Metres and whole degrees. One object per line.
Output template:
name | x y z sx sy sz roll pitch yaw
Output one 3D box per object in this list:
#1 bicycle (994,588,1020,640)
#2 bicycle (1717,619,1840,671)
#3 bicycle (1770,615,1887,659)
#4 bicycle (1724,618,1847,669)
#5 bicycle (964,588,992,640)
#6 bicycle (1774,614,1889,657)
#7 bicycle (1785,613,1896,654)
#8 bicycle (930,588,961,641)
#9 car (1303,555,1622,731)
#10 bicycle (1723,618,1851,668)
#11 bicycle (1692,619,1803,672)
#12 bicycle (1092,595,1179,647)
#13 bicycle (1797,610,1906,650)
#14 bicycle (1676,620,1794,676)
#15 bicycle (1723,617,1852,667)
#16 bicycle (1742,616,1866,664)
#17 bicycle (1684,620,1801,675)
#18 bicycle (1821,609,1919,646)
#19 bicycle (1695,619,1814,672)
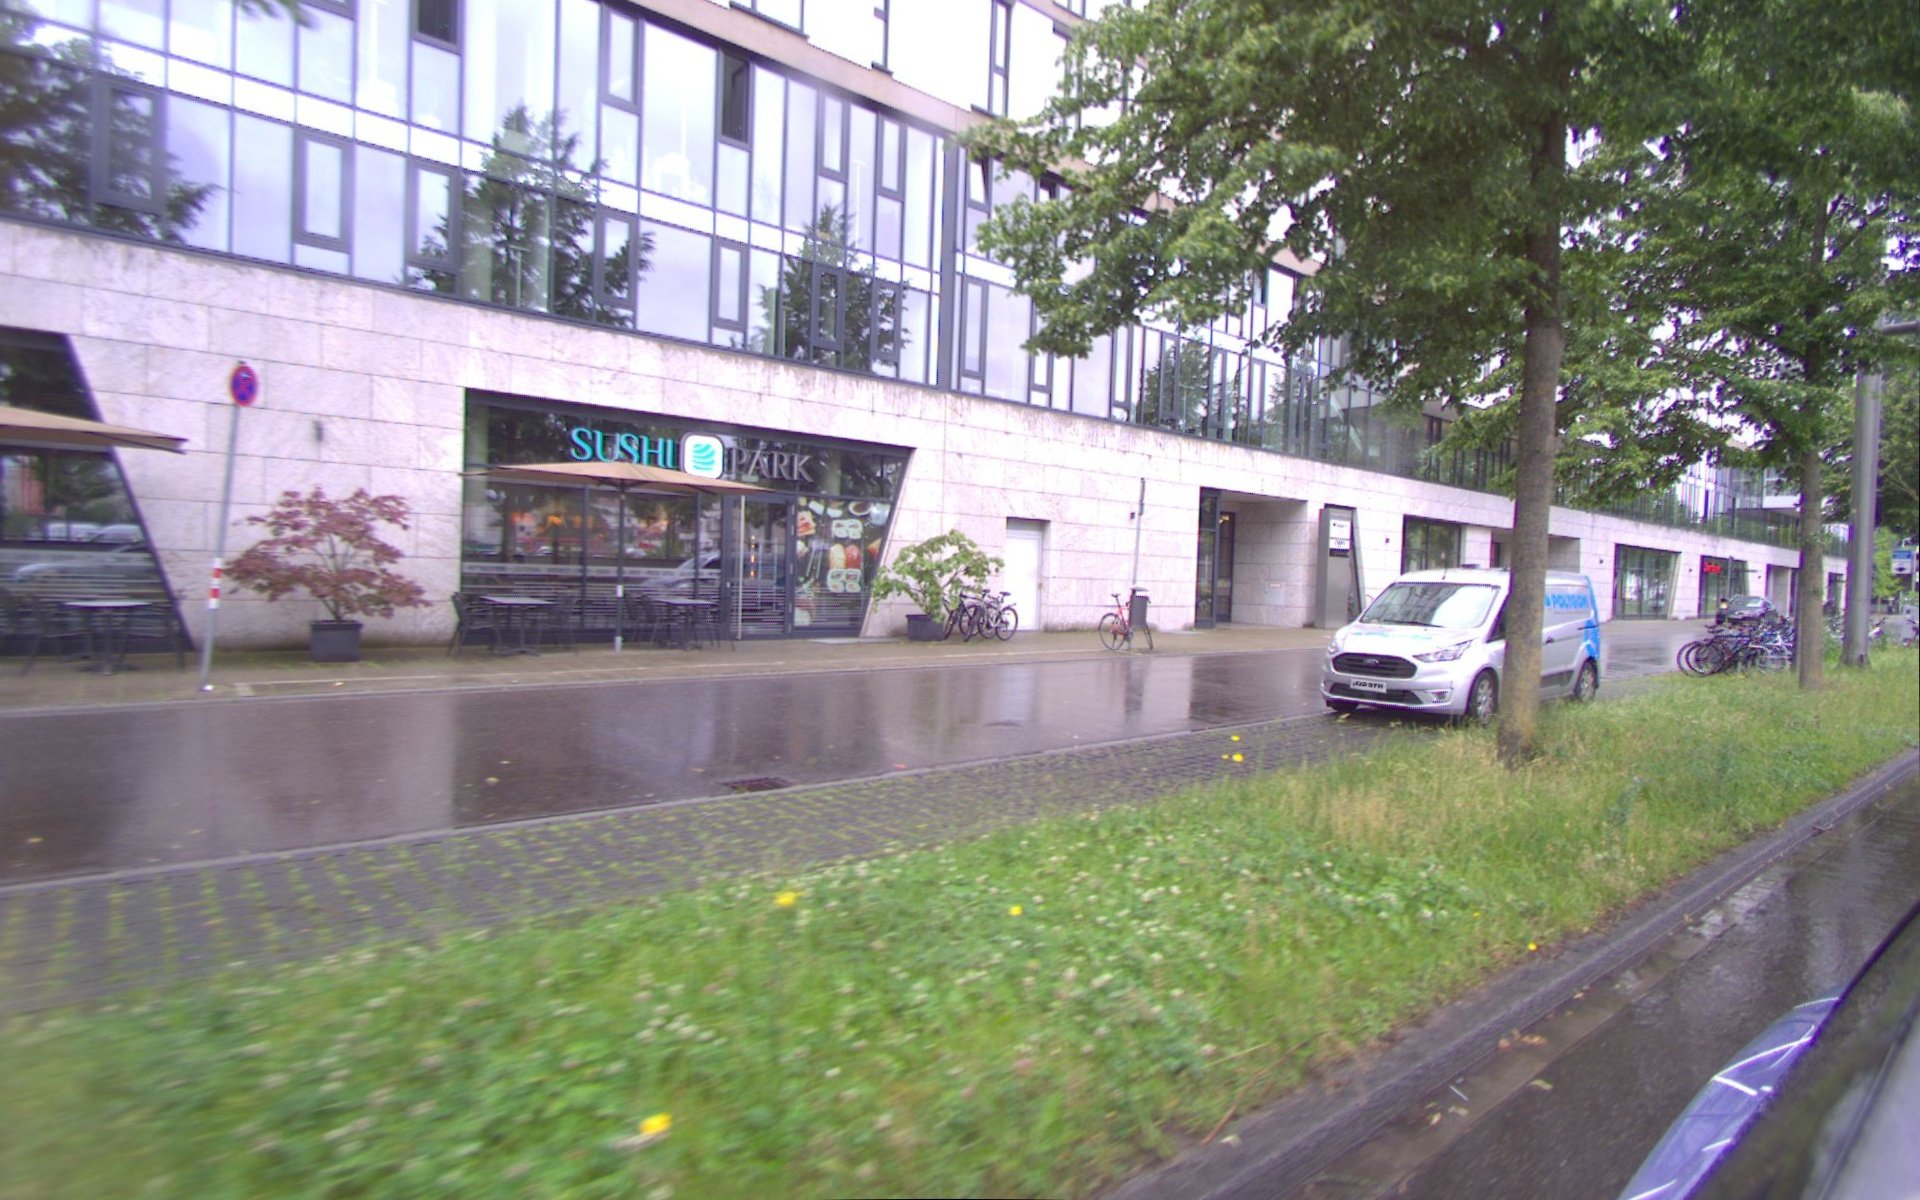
bicycle | 0.928 0.253 19.714 0.388 0.958 2.026 0 0 5
bicycle | 16.181 0.869 20.038 0.389 0.958 1.858 0 0 -43
bicycle | 20.177 0.830 23.548 0.458 0.958 2.037 0 0 -43
bicycle | 16.602 0.864 20.396 0.389 0.958 1.879 0 0 -43
bicycle | 0.361 0.254 19.640 0.388 0.958 2.026 0 0 5
bicycle | 20.830 0.823 24.231 0.533 0.958 2.037 0 0 -43
bicycle | 21.795 0.814 25.095 0.532 0.958 2.037 0 0 -43
bicycle | -0.262 0.258 19.424 0.388 0.958 2.026 0 0 5
car | 6.303 0.400 12.419 4.763 1.781 1.745 0 1 -40
bicycle | 16.924 0.858 20.762 0.389 0.958 2.003 0 0 -43
bicycle | 15.106 0.852 19.450 0.389 0.958 1.646 0 0 -43
bicycle | 3.349 0.381 19.287 1.822 0.957 0.403 0 1 -32
bicycle | 22.576 0.741 25.654 0.510 0.958 2.037 0 0 -43
bicycle | 14.106 0.860 18.457 0.389 0.958 1.663 0 0 -43
bicycle | 17.206 0.858 21.092 0.389 0.958 2.037 0 0 -43
bicycle | 18.240 0.848 21.917 0.389 0.958 2.037 0 0 -43
bicycle | 14.616 0.868 18.943 0.389 0.958 1.695 0 0 -43
bicycle | 24.420 0.724 27.110 0.510 0.958 2.037 0 0 -43
bicycle | 15.519 0.875 19.817 0.389 0.958 1.789 0 0 -43
